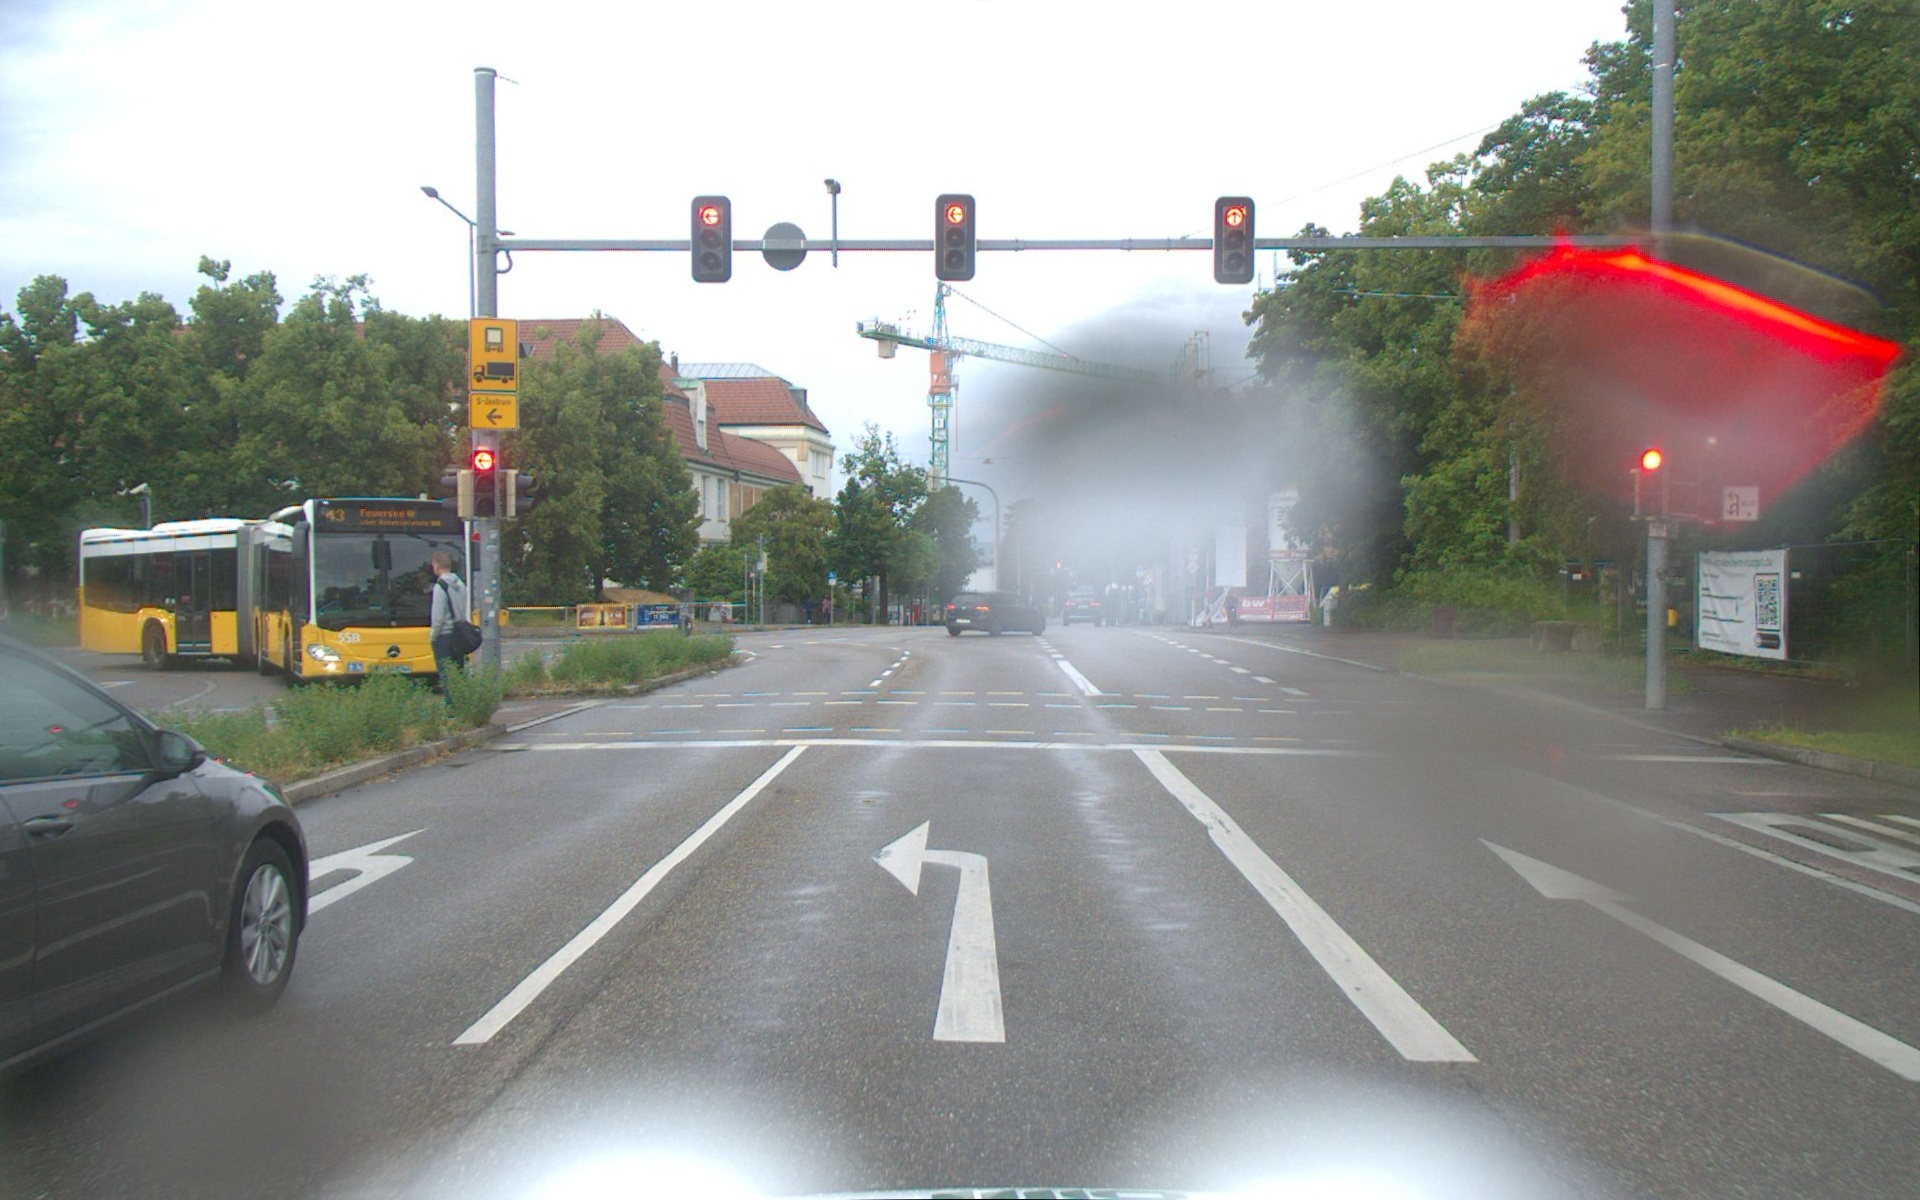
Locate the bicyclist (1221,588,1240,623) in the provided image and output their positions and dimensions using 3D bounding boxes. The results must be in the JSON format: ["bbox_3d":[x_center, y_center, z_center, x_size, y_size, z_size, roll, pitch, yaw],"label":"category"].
[{"bbox_3d":[12.377,0.254,75.811,0.705,1.591,1.143,1,-1,2],"label":"bicyclist"}]

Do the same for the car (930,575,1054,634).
[{"bbox_3d":[1.067,0.157,52.532,1.961,1.736,3.982,0,-2,37],"label":"car"}]

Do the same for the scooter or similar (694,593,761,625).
[{"bbox_3d":[-11.068,0.422,78.671,3.025,1.465,0.949,-1,0,-1],"label":"scooter or similar"}]

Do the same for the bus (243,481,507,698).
[{"bbox_3d":[-10.576,-0.187,29.093,2.856,3.157,9.663,-1,1,-29],"label":"bus"}]

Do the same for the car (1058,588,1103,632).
[{"bbox_3d":[5.960,0.540,82.089,1.904,2.056,4.551,1,-1,1],"label":"car"}]

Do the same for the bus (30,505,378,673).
[{"bbox_3d":[-16.851,-0.214,36.629,8.393,3.365,2.890,0,0,32],"label":"bus"}]

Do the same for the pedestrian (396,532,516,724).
[{"bbox_3d":[-5.617,0.303,18.483,0.920,2.048,0.848,-3,0,6],"label":"pedestrian"}]

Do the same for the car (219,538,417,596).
[{"bbox_3d":[-16.590,-0.848,42.939,4.420,1.450,1.997,0,0,-8],"label":"car"}]

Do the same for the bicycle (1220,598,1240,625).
[{"bbox_3d":[12.375,0.533,75.873,0.705,1.214,1.756,1,-1,3],"label":"bicycle"}]

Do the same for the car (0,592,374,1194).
[{"bbox_3d":[-3.237,0.749,4.432,1.768,1.454,4.197,-2,0,0],"label":"car"}]
